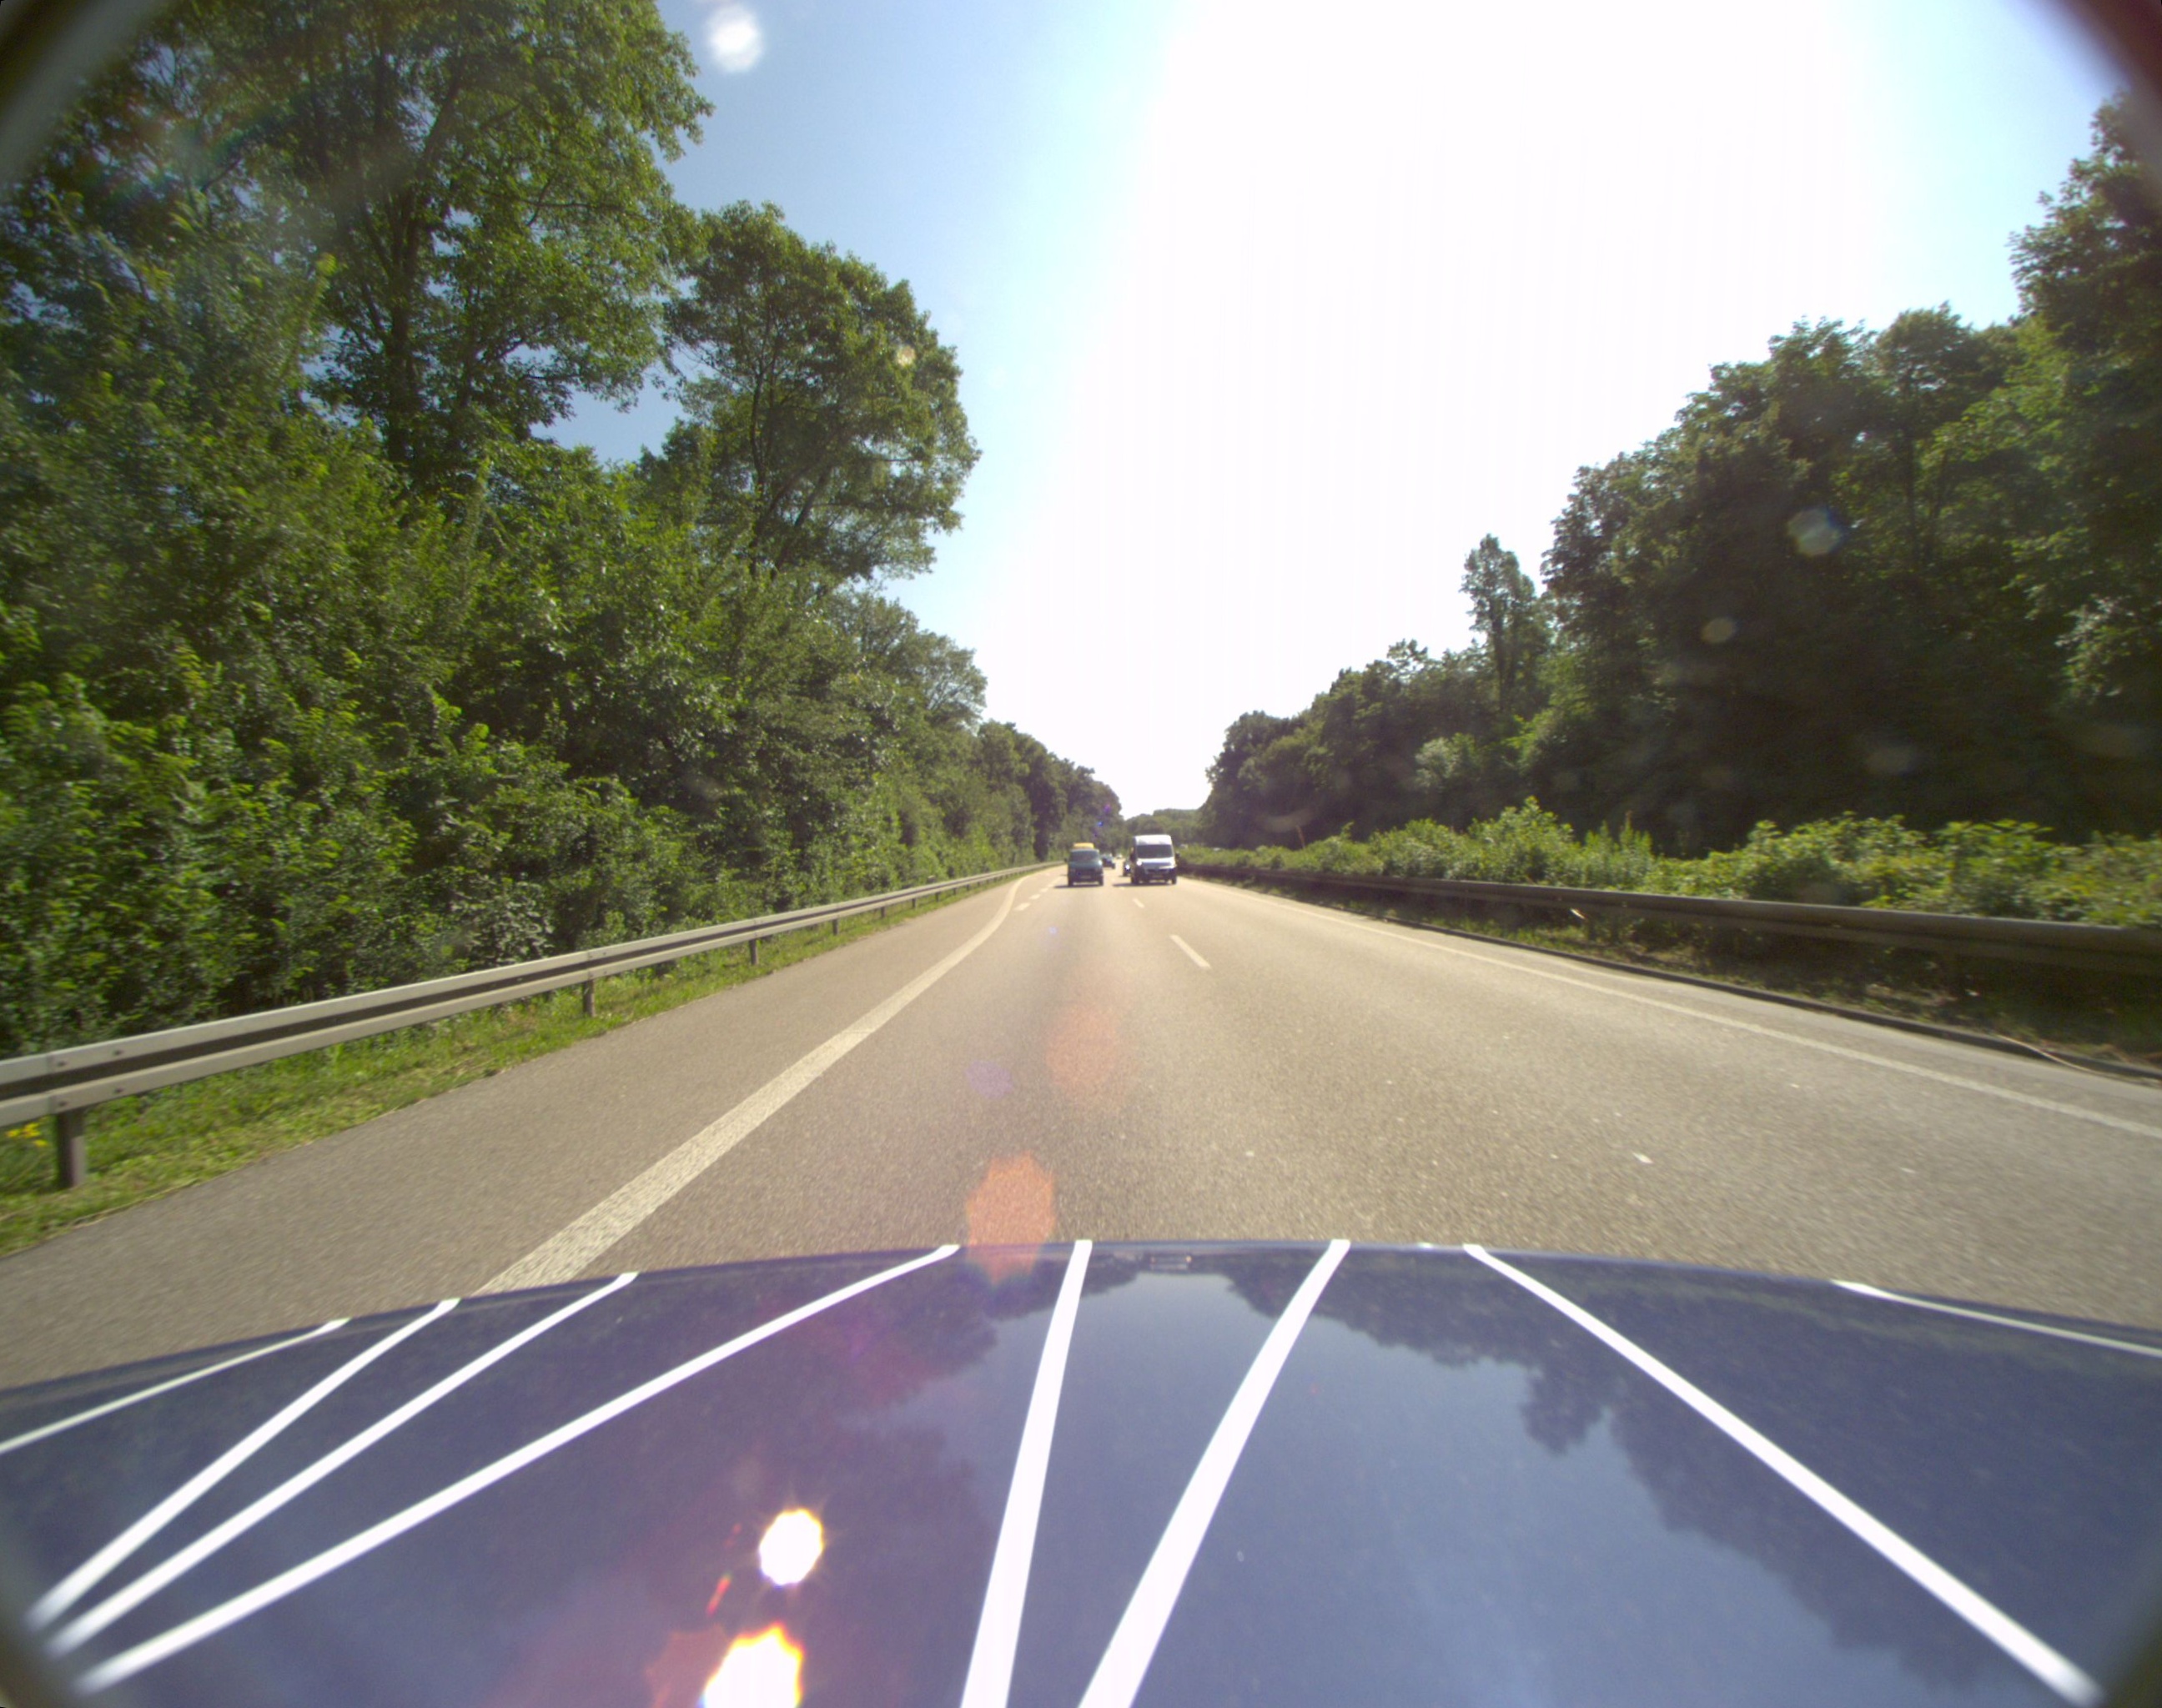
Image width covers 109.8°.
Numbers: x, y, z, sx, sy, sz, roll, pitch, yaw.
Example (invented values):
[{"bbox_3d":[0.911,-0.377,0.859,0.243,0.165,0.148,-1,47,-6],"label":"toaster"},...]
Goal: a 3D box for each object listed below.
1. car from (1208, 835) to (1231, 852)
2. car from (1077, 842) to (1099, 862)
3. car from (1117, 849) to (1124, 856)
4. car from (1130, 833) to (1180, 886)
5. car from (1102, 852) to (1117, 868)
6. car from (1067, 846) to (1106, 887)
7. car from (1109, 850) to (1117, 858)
[{"bbox_3d":[17.067,-1.333,93.882,1.998,2.002,3.999,-2,1,1],"label":"car"},{"bbox_3d":[0.633,-0.180,65.397,1.737,1.624,3.899,-2,1,1],"label":"car"},{"bbox_3d":[12.010,-0.484,229.498,1.998,2.002,4.000,-2,1,3],"label":"car"},{"bbox_3d":[3.641,0.233,38.388,2.046,2.430,4.637,-2,1,1],"label":"car"},{"bbox_3d":[3.217,0.639,85.380,1.517,1.624,3.611,-2,1,1],"label":"car"},{"bbox_3d":[0.296,0.594,39.648,1.812,1.921,4.581,-2,1,1],"label":"car"},{"bbox_3d":[8.505,-0.021,201.412,1.998,2.002,4.001,-2,1,4],"label":"car"}]
